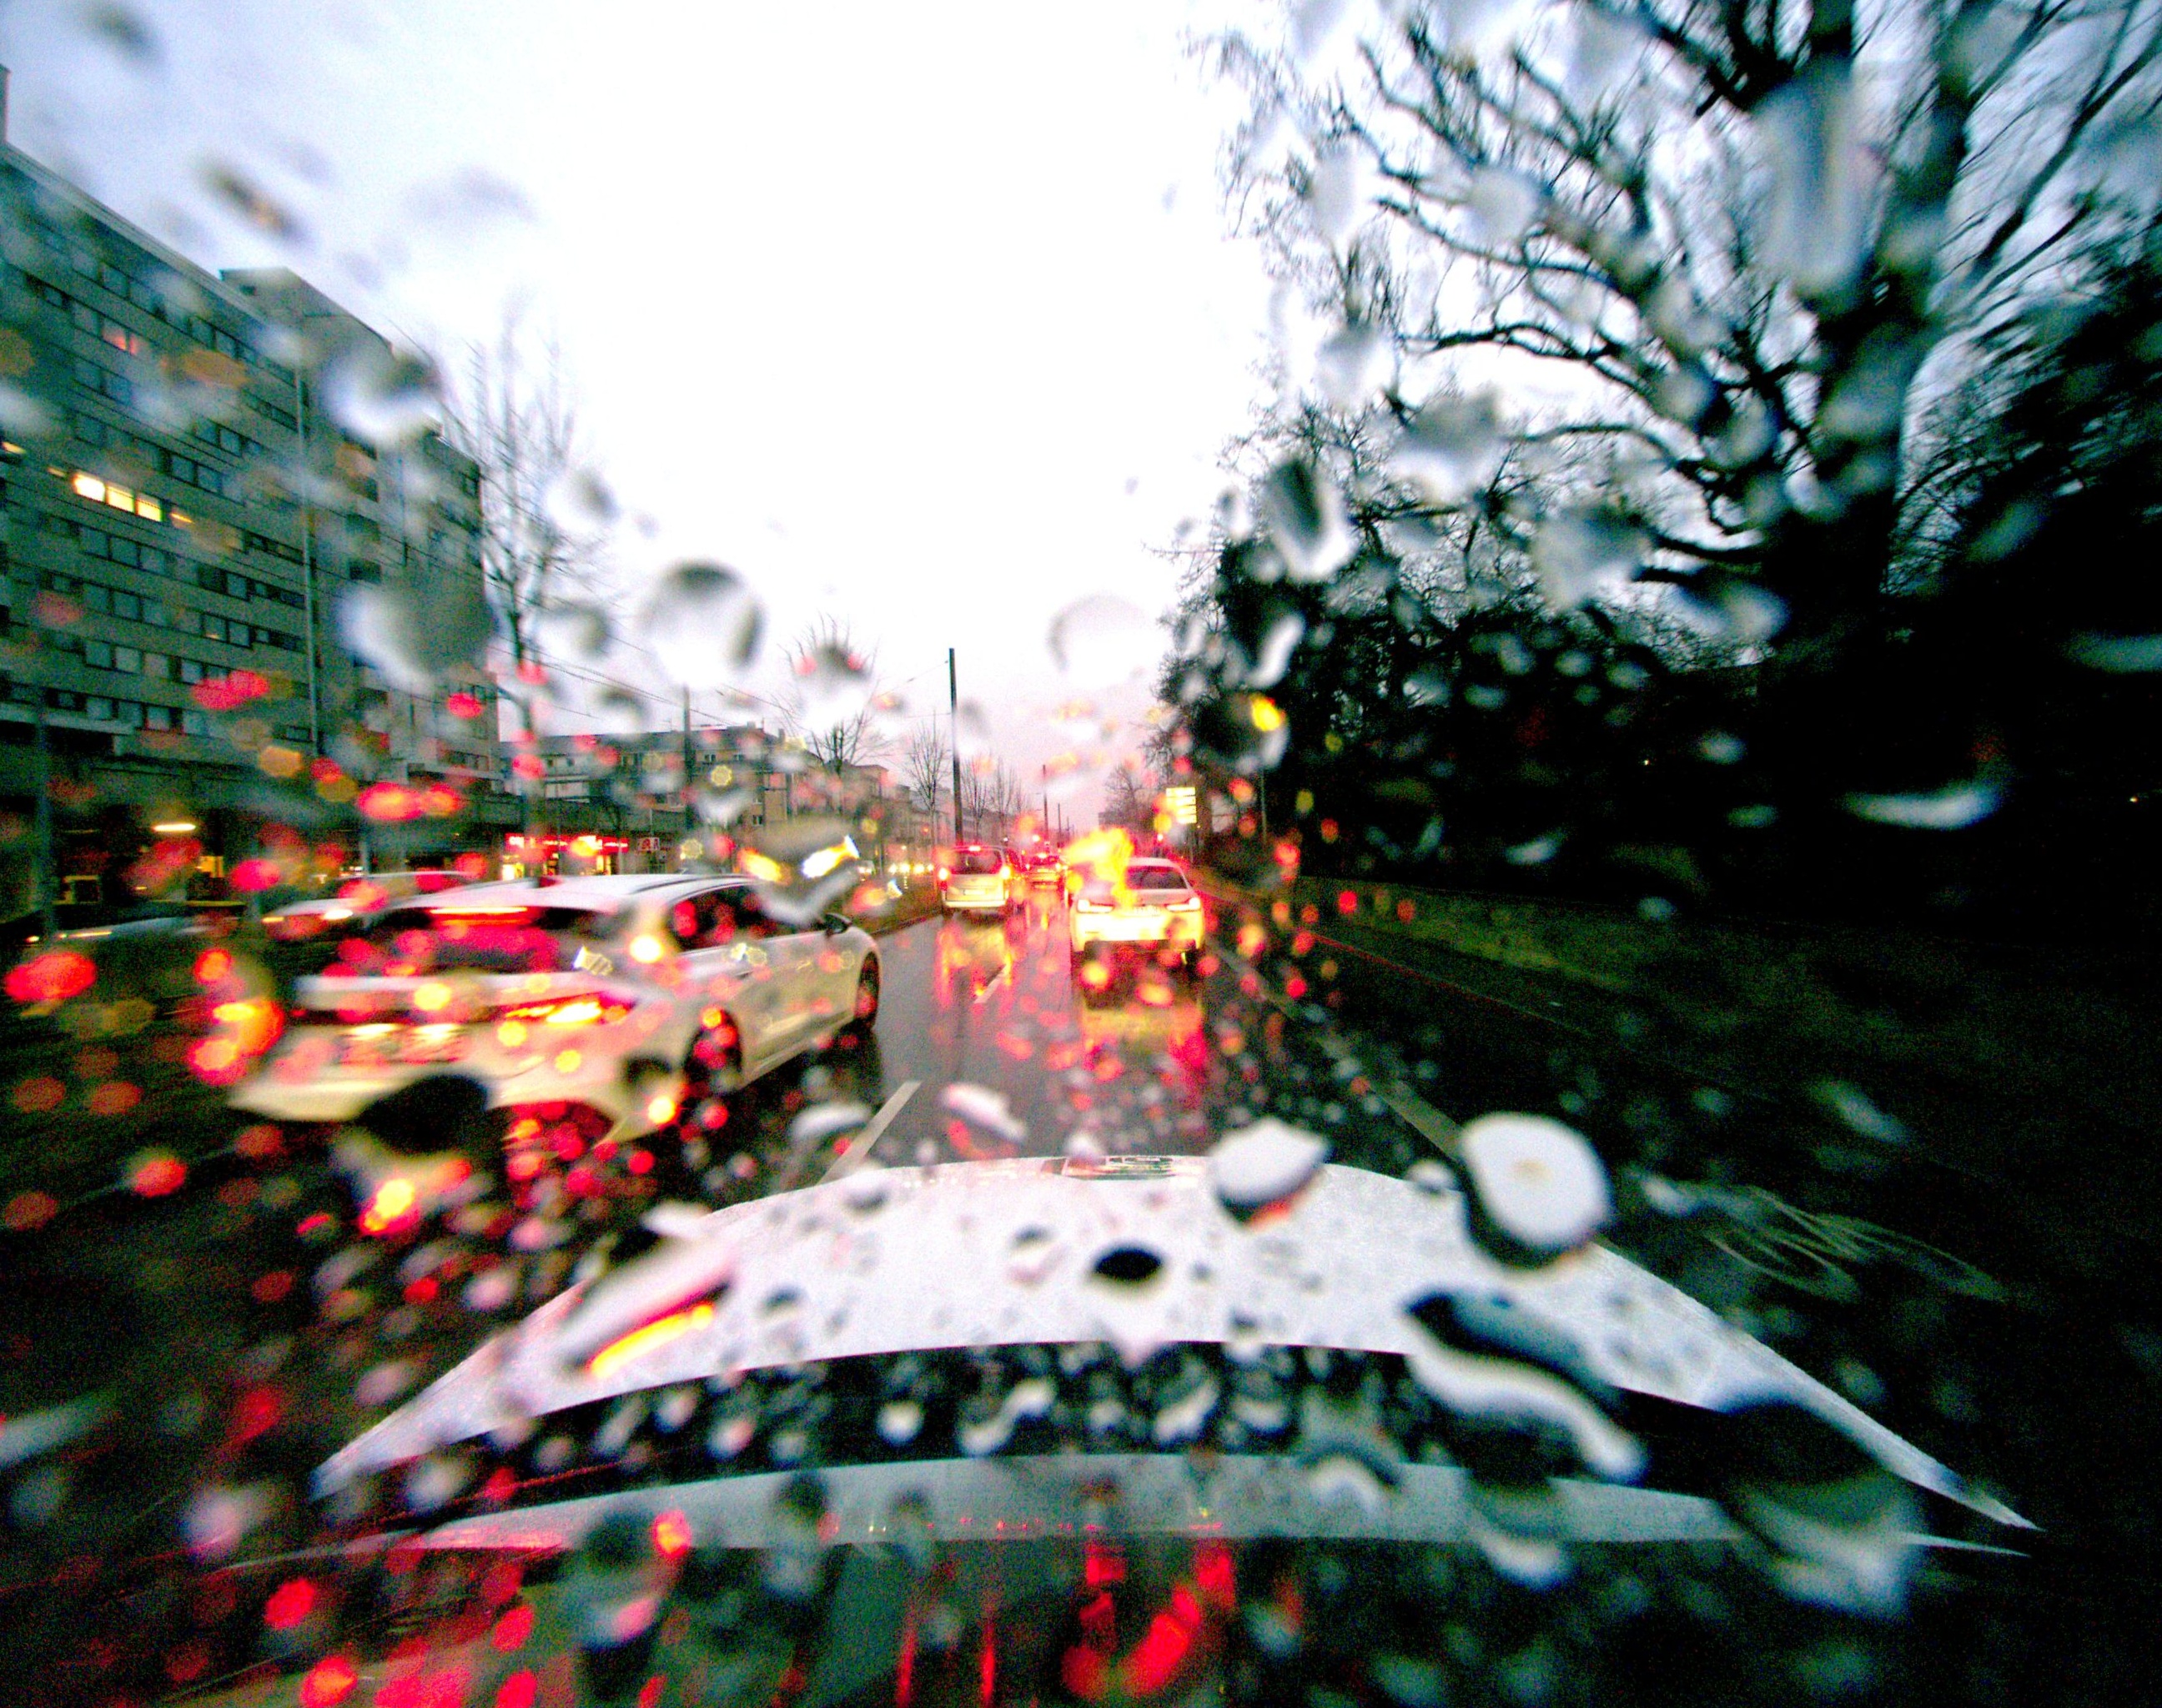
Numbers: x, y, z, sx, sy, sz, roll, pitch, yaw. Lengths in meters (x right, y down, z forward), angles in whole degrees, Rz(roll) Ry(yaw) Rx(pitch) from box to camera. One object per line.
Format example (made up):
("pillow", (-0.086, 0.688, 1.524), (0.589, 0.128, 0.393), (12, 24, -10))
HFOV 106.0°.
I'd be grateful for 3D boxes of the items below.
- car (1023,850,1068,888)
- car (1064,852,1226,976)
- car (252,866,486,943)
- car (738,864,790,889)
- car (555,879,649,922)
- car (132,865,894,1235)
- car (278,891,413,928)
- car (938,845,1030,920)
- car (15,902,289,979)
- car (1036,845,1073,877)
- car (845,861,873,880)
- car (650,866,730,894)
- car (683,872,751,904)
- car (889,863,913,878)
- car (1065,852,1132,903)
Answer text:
("car", (-1.617, 0.653, 38.266), (1.800, 1.646, 4.002), (-1, 0, 2))
("car", (0.864, 0.748, 12.294), (1.992, 1.508, 4.165), (-2, 0, 2))
("car", (-19.140, 1.252, 22.318), (1.890, 1.719, 5.116), (-2, 0, -1))
("car", (-24.411, 1.681, 62.963), (1.889, 1.719, 4.918), (-2, 0, 2))
("car", (-24.183, 2.308, 41.336), (1.889, 1.813, 4.531), (-2, 0, 2))
("car", (-2.809, 0.815, 5.558), (1.839, 1.405, 4.616), (-1, 0, 2))
("car", (-31.250, 2.325, 34.793), (4.015, 1.387, 1.916), (0, -1, -34))
("car", (-2.435, 0.692, 21.496), (1.787, 1.736, 4.537), (-1, 0, 1))
("car", (-25.081, 2.267, 22.335), (1.889, 1.516, 4.794), (-2, 0, 2))
("car", (-1.548, 0.402, 48.470), (1.986, 1.755, 4.001), (-1, 0, 1))
("car", (-24.381, 1.799, 89.444), (1.991, 1.912, 5.154), (-3, 0, -5))
("car", (-30.399, 1.994, 63.427), (5.193, 1.912, 1.975), (-3, 0, -44))
("car", (-22.943, 2.117, 51.588), (1.888, 1.719, 4.919), (-2, 0, 2))
("car", (-21.286, 1.933, 96.467), (1.890, 1.634, 4.578), (-2, 0, -1))
("car", (0.576, 0.702, 26.152), (1.928, 1.457, 4.165), (-2, 0, 2))
